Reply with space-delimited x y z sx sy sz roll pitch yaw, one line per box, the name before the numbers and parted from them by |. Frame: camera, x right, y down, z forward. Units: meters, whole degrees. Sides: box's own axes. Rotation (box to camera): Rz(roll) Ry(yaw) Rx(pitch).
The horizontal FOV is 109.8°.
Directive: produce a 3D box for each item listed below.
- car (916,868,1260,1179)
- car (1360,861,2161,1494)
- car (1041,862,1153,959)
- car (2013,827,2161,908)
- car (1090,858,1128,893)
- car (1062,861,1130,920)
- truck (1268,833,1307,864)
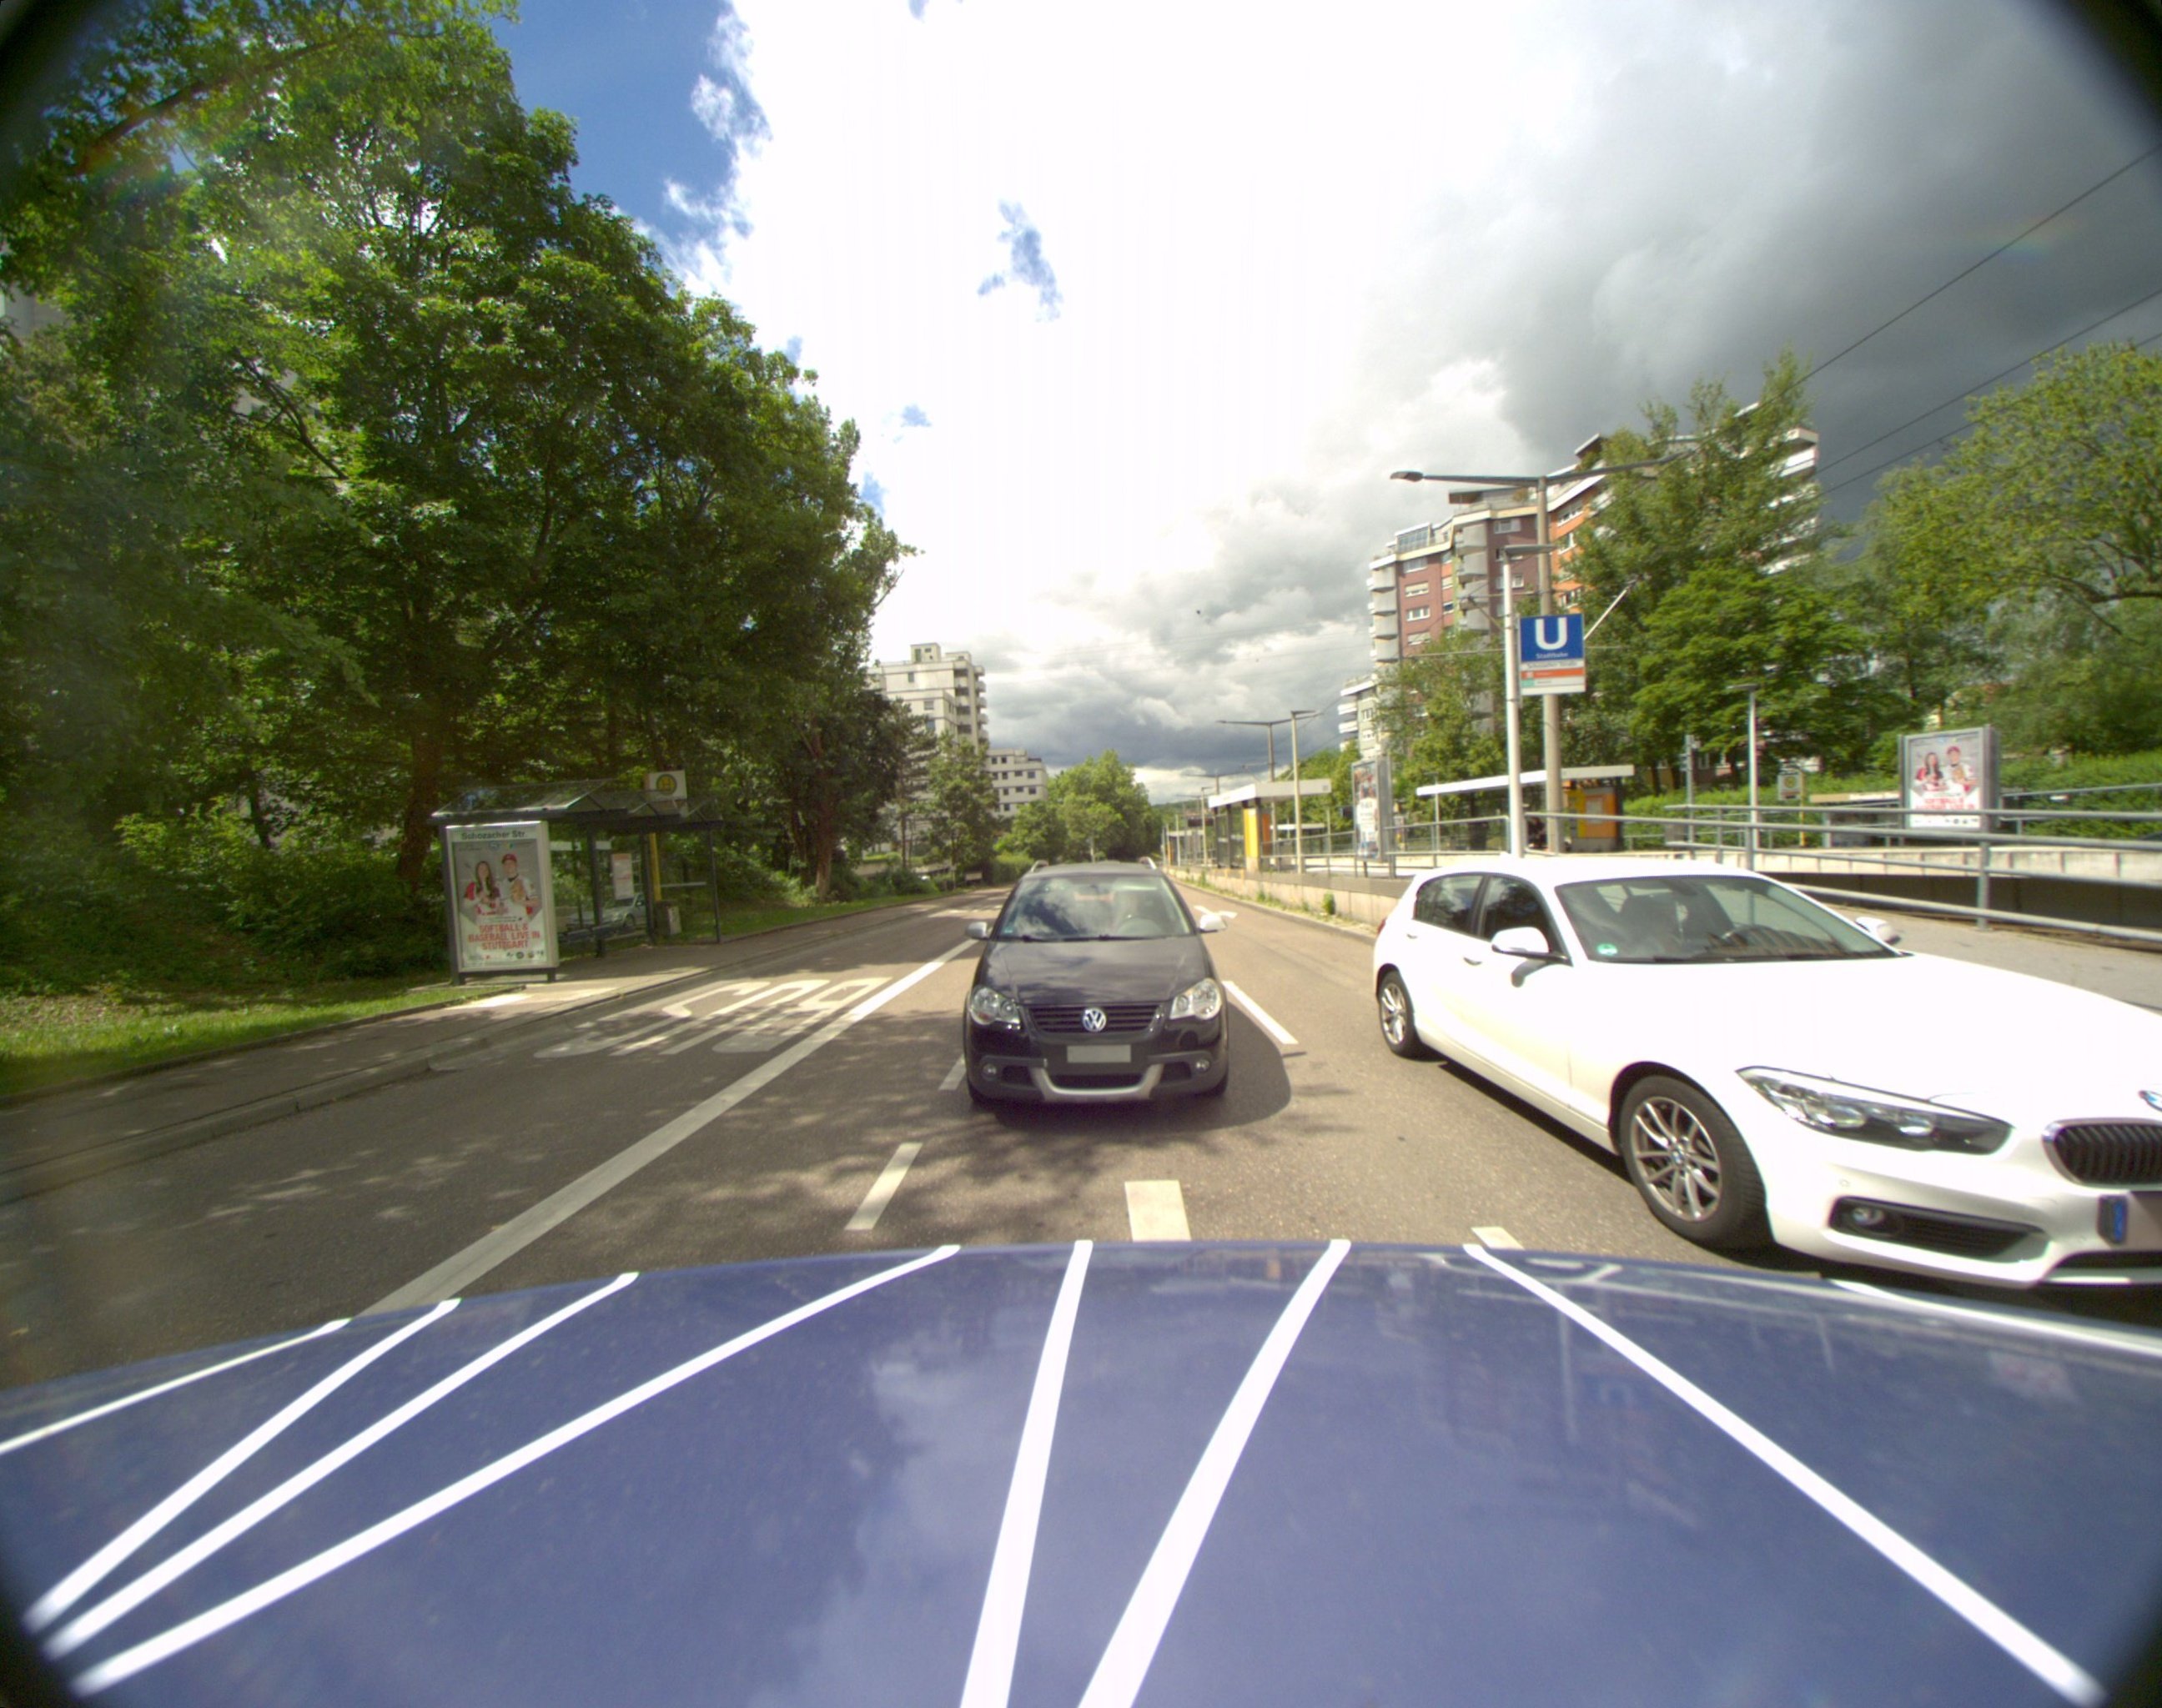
car | 0.067 0.922 5.956 1.732 1.501 4.000 -2 0 1
car | 3.026 0.835 3.894 1.732 1.453 4.000 -2 1 1
car | 0.283 0.930 14.149 1.732 1.453 4.000 -2 0 1
car | 19.499 0.208 13.132 1.633 1.405 4.255 -2 0 3
car | 1.340 1.023 37.651 1.732 1.505 4.000 -2 1 1
car | 0.507 0.985 22.043 1.732 1.452 4.001 -2 0 3
truck | 23.165 -0.536 85.541 2.420 3.203 7.263 -2 0 1
